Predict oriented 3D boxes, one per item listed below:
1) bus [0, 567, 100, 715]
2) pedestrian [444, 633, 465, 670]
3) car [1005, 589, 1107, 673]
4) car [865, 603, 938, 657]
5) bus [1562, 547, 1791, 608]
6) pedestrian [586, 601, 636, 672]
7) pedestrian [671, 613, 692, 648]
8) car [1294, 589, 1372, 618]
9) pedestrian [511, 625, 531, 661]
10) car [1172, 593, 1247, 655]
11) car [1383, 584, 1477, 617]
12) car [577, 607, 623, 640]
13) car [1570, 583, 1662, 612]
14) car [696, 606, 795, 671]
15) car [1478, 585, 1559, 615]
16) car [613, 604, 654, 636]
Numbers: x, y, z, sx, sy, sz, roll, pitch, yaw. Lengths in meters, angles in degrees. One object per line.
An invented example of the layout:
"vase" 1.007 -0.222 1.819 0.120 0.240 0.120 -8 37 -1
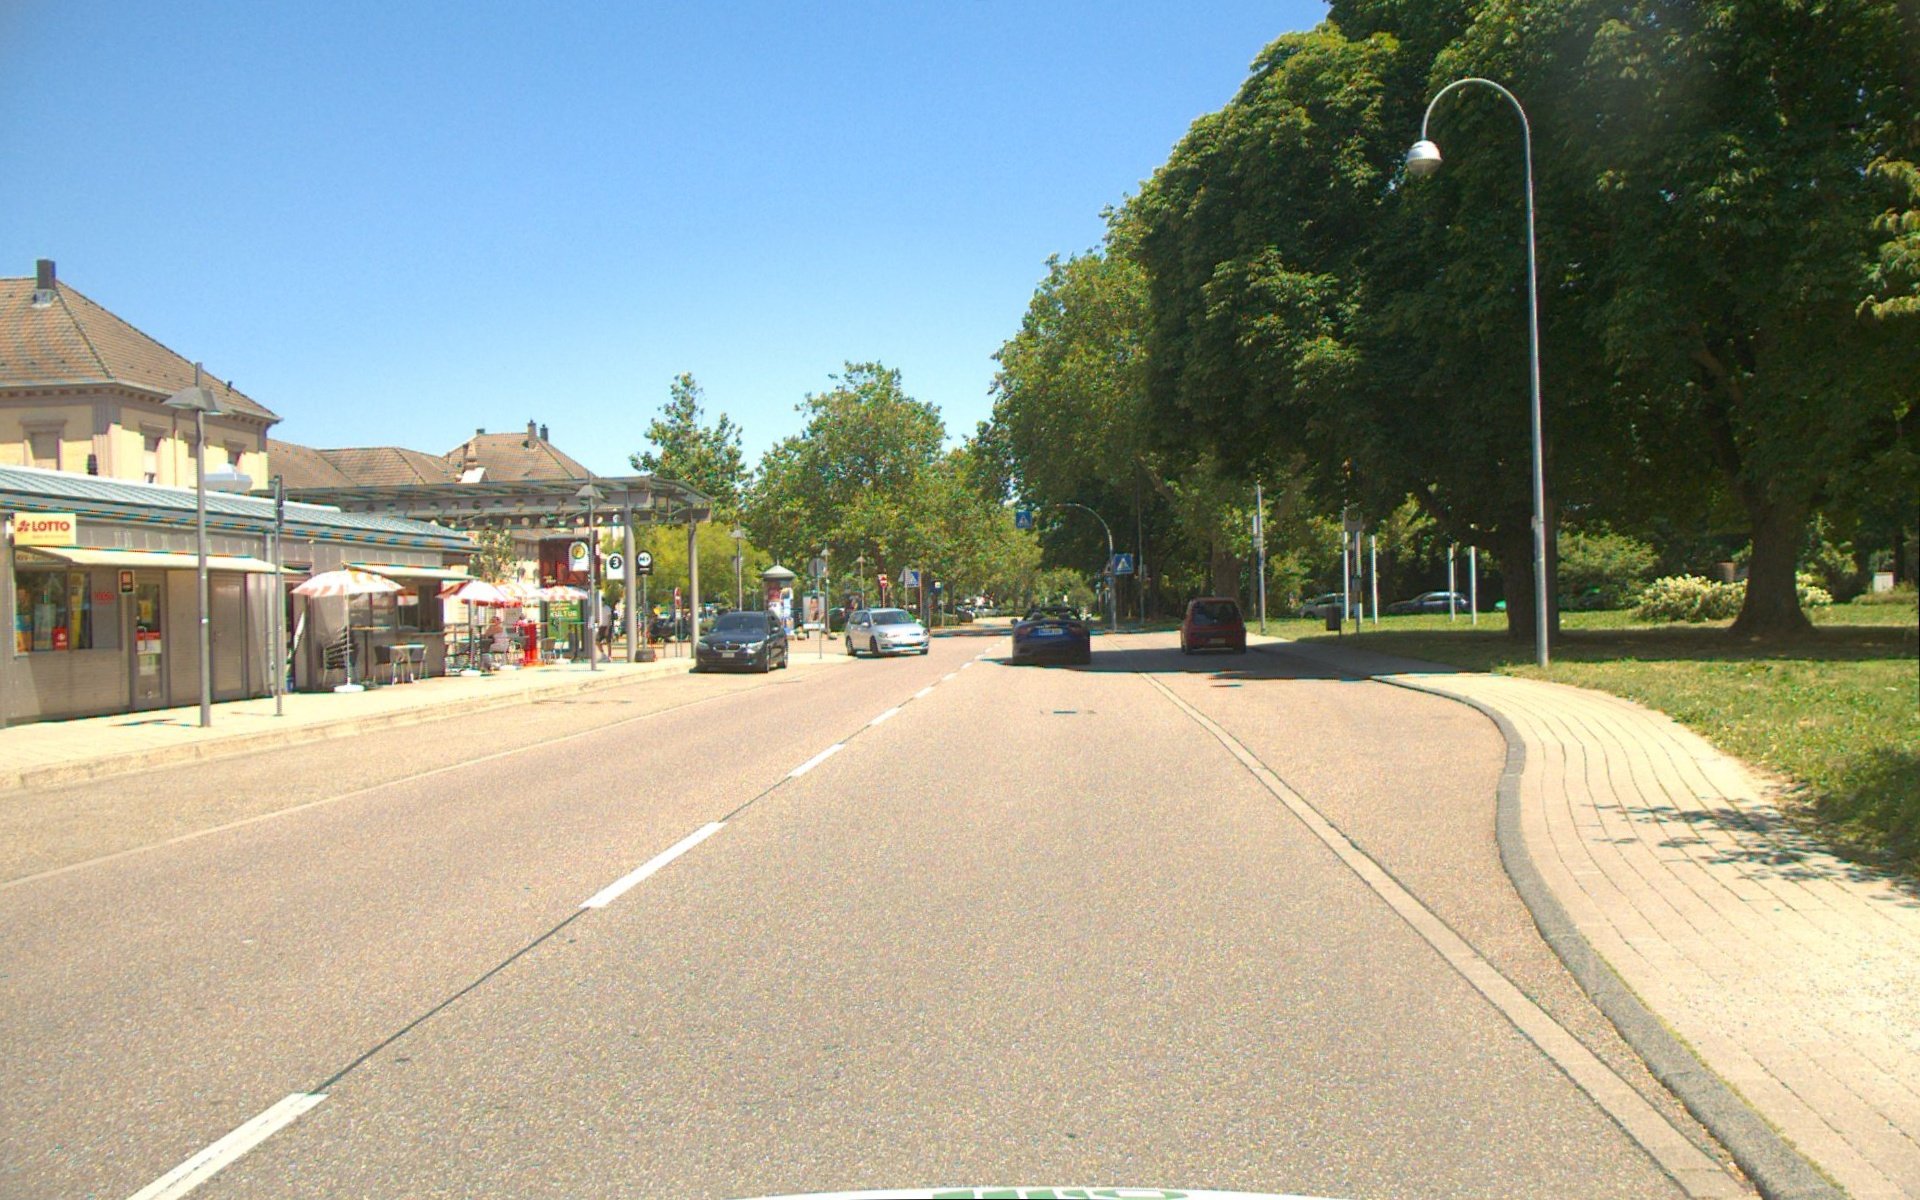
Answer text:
"bus" -21.440 0.862 31.316 2.619 3.094 13.894 -2 -1 2
"pedestrian" -13.892 1.413 45.469 0.415 0.989 0.372 -2 -2 16
"car" 2.387 0.730 40.151 2.079 1.881 4.051 -1 -1 8
"car" -1.771 0.906 51.662 1.777 1.469 4.160 -4 0 4
"bus" 41.464 -1.261 95.910 12.122 3.030 2.269 -2 -1 2
"pedestrian" -9.452 0.990 44.827 0.783 1.860 1.142 -3 -2 20
"pedestrian" -13.713 1.491 81.458 0.745 1.688 0.721 -3 -2 20
"car" 20.626 0.195 91.669 4.018 1.492 2.002 -2 0 7
"pedestrian" -21.043 2.060 79.282 0.651 1.702 0.621 0 -3 -43
"car" 6.607 0.627 44.086 1.682 1.504 3.708 -2 0 5
"car" 25.802 0.041 90.933 4.721 1.635 2.002 -2 0 7
"car" -23.960 1.549 110.292 1.714 1.951 4.778 -2 1 3
"car" 35.798 -0.116 90.375 4.246 1.441 2.001 -1 -1 4
"car" -5.419 0.951 42.356 1.683 1.504 4.787 -2 0 2
"car" 30.612 0.011 90.711 3.799 1.479 2.001 -1 -1 5
"car" -23.196 1.433 117.498 1.952 2.048 4.001 -2 1 1
